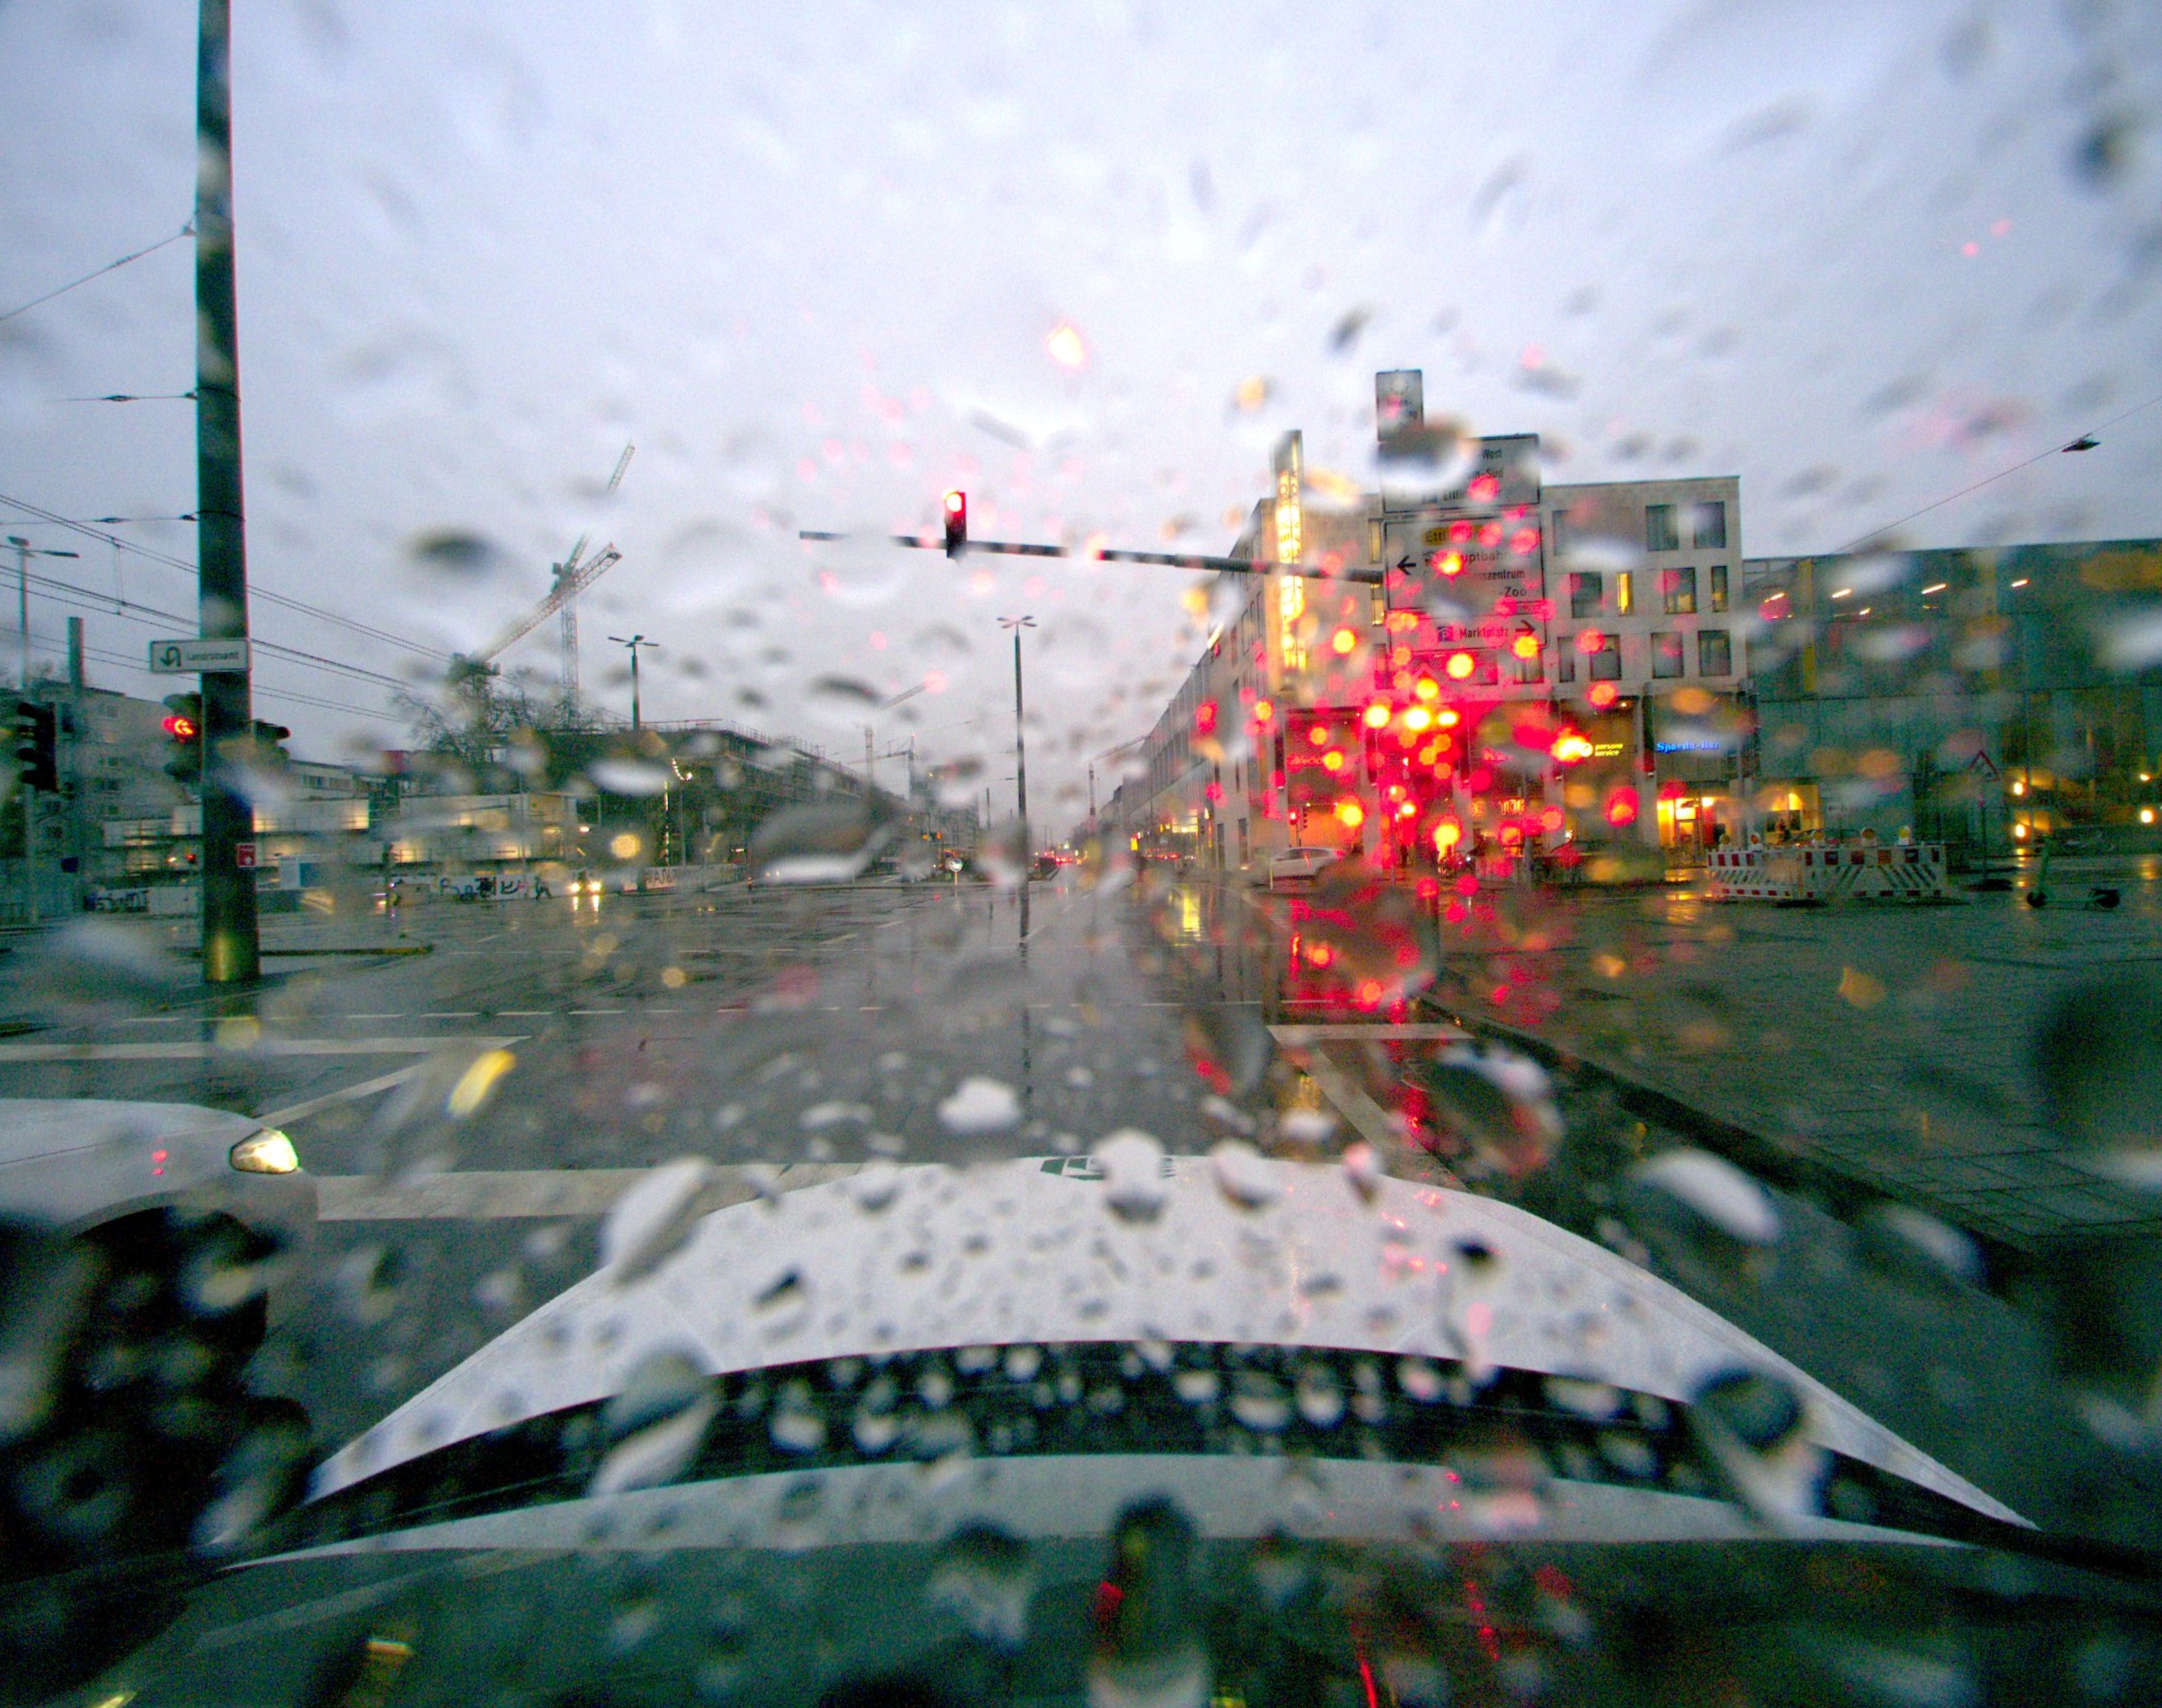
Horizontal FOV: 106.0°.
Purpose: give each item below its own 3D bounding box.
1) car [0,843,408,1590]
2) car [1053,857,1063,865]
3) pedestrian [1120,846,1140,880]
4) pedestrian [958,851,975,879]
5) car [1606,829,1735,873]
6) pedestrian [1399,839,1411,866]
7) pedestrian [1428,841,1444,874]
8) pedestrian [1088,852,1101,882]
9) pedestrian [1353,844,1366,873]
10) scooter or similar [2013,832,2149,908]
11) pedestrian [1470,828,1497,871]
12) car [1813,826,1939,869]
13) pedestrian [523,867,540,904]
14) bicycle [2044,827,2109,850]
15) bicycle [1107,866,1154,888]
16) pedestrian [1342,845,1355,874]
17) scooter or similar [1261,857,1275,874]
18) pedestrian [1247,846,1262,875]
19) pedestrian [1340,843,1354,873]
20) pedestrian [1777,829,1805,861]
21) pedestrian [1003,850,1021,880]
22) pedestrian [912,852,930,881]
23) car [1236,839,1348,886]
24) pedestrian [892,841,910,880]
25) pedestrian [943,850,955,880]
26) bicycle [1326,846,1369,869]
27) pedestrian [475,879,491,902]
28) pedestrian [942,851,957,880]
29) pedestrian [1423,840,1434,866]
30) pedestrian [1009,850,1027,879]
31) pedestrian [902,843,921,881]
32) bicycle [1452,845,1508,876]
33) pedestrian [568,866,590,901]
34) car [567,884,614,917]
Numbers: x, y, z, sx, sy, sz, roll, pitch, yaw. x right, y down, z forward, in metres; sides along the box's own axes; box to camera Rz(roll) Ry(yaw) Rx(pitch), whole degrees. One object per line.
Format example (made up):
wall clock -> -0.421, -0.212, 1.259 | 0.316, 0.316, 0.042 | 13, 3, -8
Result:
car -> -3.191, 0.766, 0.184 | 1.903, 1.520, 4.923 | -2, 0, 0
car -> -5.297, 1.691, 188.410 | 1.881, 1.783, 3.715 | -1, -1, 2
pedestrian -> 2.262, 0.418, 37.877 | 0.814, 1.570, 0.535 | -2, -1, -7
pedestrian -> -6.636, 0.623, 47.070 | 0.806, 1.607, 0.746 | -2, -1, 1
car -> 23.984, -0.096, 33.242 | 4.037, 1.582, 1.676 | -2, -1, -1
pedestrian -> 20.922, -0.093, 52.533 | 0.530, 1.718, 0.505 | -3, -1, 39
pedestrian -> 18.136, 0.185, 41.611 | 0.530, 1.685, 0.552 | -3, -1, 39
pedestrian -> 0.795, 0.750, 48.077 | 0.700, 1.760, 0.652 | -2, -1, 1
pedestrian -> 17.071, 0.282, 49.907 | 0.530, 1.718, 0.505 | -3, -1, 39
scooter or similar -> 15.805, 0.240, 12.914 | 0.603, 1.130, 1.236 | -2, 0, 2
pedestrian -> 15.518, -0.175, 31.396 | 0.775, 1.595, 0.616 | -2, -1, 17
car -> 32.654, -0.256, 33.515 | 3.558, 1.582, 1.676 | -2, -1, -1
pedestrian -> -30.954, 1.769, 45.899 | 0.507, 2.014, 0.638 | -3, -2, -9
bicycle -> 48.580, -0.745, 39.788 | 0.613, 1.033, 2.138 | -2, 0, 3
bicycle -> 2.308, 1.049, 37.861 | 2.126, 0.991, 0.540 | 0, -1, -7
pedestrian -> 16.402, 0.338, 49.969 | 0.530, 1.718, 0.505 | -3, -1, 39
scooter or similar -> 10.760, 0.667, 46.954 | 0.737, 0.993, 0.401 | -2, -1, 8
pedestrian -> 10.014, 0.380, 47.053 | 0.737, 1.667, 0.401 | -2, -1, 8
pedestrian -> 15.824, 0.239, 48.485 | 0.615, 1.760, 0.482 | -2, -1, 1
pedestrian -> 36.052, -0.456, 41.374 | 0.791, 1.631, 0.709 | -1, -1, 1
pedestrian -> -3.973, 0.612, 46.805 | 0.824, 1.679, 0.622 | -2, -1, 15
pedestrian -> -9.172, 0.722, 46.659 | 0.713, 1.619, 0.672 | -2, -1, -45
car -> 8.852, 0.342, 34.371 | 4.284, 1.761, 1.709 | -2, 0, 3
pedestrian -> -9.651, 0.342, 43.653 | 0.691, 2.087, 0.606 | -2, -1, -39
pedestrian -> -7.798, 0.640, 48.158 | 0.617, 1.746, 0.612 | -2, -1, -4
bicycle -> 16.550, 0.193, 50.609 | 2.420, 1.329, 0.634 | -2, 0, -4
pedestrian -> -40.116, 2.431, 54.617 | 0.799, 1.529, 0.639 | -2, -1, -33
pedestrian -> -7.533, 0.647, 46.733 | 0.704, 1.619, 0.613 | -2, -1, -1
pedestrian -> 23.852, -0.063, 55.838 | 0.530, 1.718, 0.505 | -3, -1, 39
pedestrian -> -3.668, 0.605, 47.499 | 0.837, 1.688, 0.679 | -2, -1, 13
pedestrian -> -9.250, 0.447, 44.425 | 0.781, 2.013, 0.606 | -2, -1, -37
bicycle -> 15.380, 0.252, 31.435 | 1.831, 1.093, 0.620 | -2, -1, 16
pedestrian -> -29.024, 1.691, 47.078 | 0.792, 2.013, 0.745 | -2, -1, -9
car -> -33.615, 3.120, 55.887 | 1.760, 2.013, 3.977 | -2, 0, -17
